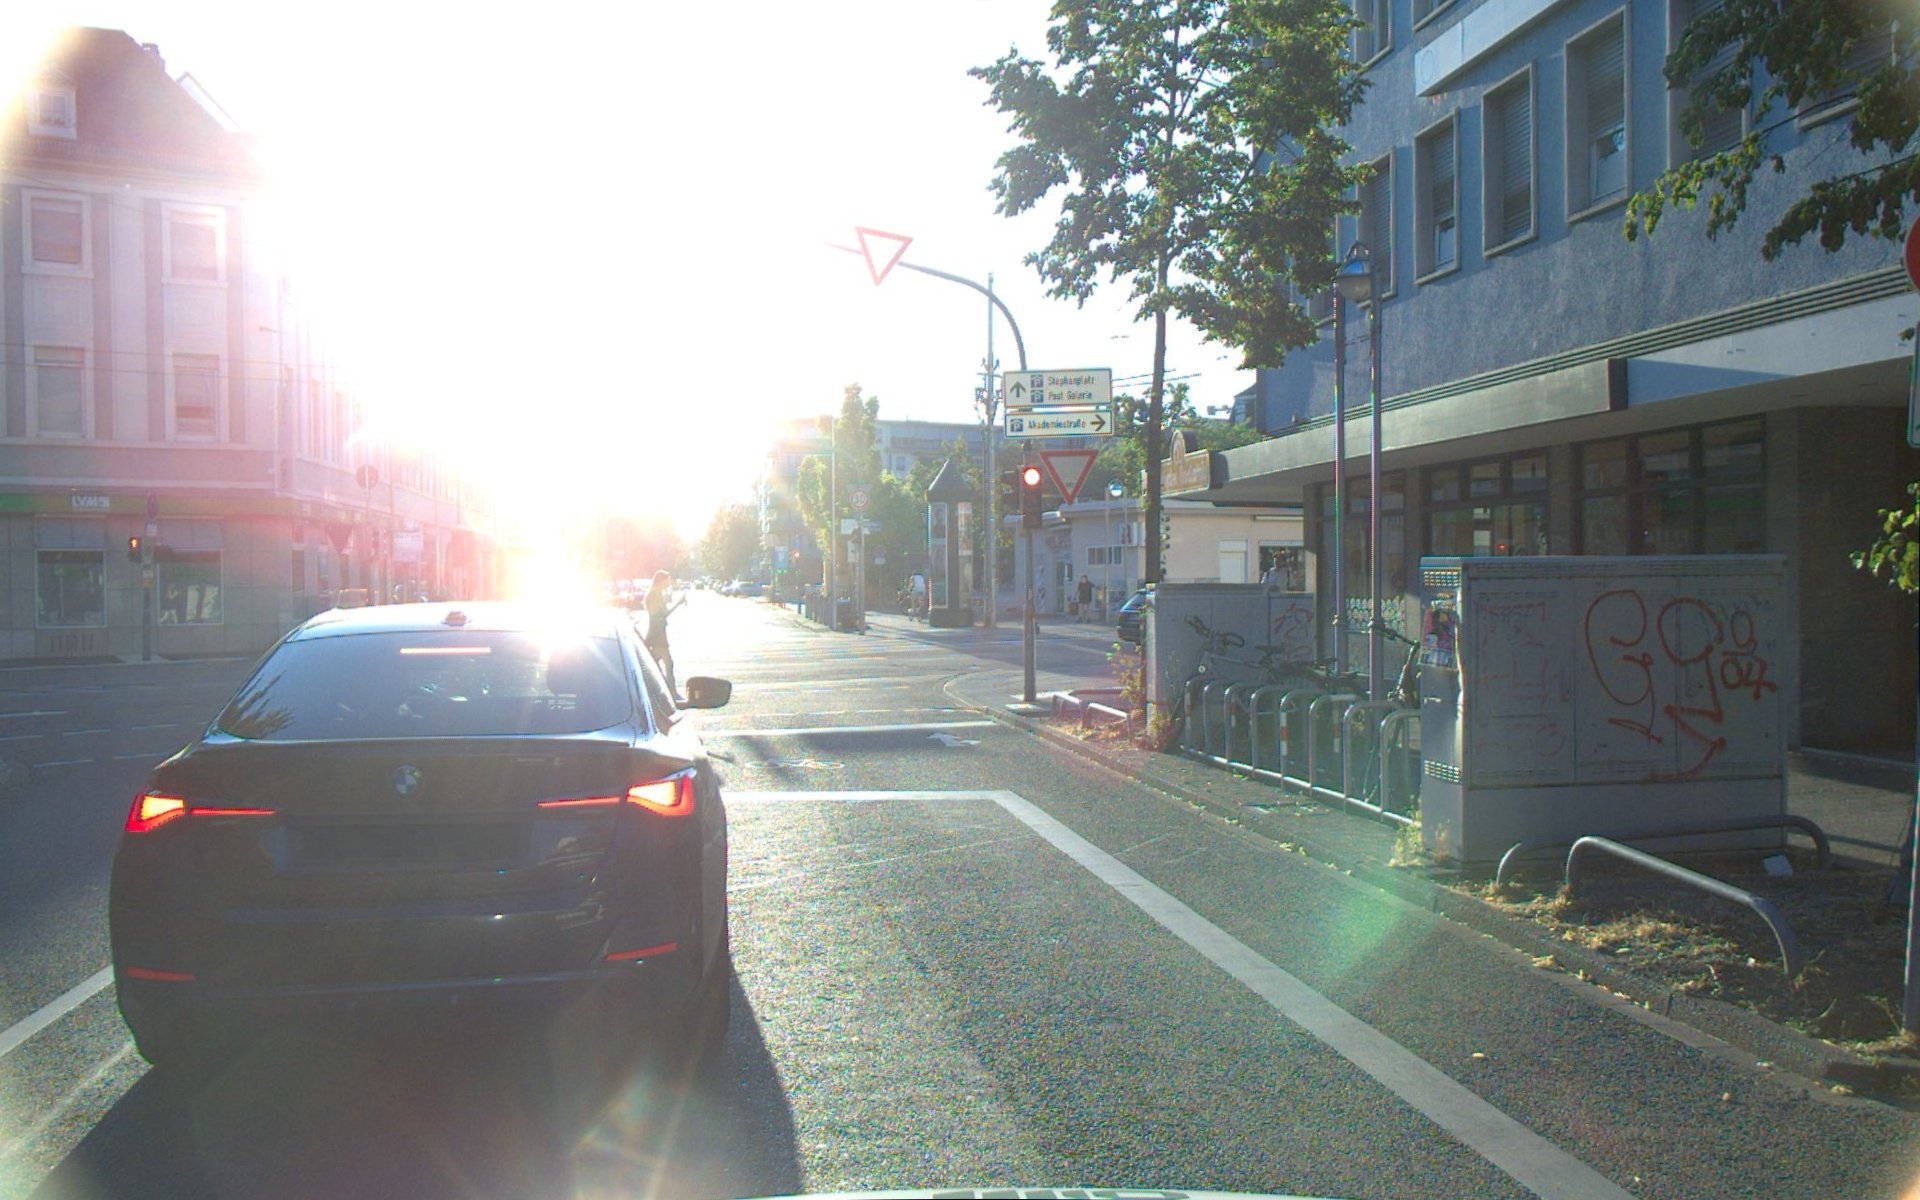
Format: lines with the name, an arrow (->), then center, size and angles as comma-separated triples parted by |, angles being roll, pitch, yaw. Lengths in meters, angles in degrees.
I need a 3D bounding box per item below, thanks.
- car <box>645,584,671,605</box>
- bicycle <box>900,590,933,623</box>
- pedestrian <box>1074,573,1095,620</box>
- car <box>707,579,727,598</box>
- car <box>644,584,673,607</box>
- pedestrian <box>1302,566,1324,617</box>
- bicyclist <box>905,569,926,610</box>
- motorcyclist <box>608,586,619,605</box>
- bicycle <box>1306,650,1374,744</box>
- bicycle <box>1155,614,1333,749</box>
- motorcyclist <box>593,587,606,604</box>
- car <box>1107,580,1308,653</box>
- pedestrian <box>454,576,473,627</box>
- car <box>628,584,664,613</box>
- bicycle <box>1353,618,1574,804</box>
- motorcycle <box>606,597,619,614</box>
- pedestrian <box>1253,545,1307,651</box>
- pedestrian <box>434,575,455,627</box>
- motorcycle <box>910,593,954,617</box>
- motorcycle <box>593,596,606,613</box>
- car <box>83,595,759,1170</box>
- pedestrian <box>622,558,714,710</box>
car -> -23.139, -0.442, 126.766 | 1.784, 1.545, 3.992 | -1, 1, -9
bicycle -> -1.603, 0.230, 60.449 | 0.542, 1.179, 2.130 | 1, 0, -21
pedestrian -> 4.097, -0.117, 54.482 | 0.461, 1.555, 0.735 | 1, 0, 23
car -> -23.906, -1.130, 163.096 | 1.737, 1.881, 3.995 | -1, 1, -6
car -> -20.521, -0.310, 112.682 | 1.784, 1.545, 3.992 | -1, 1, -9
pedestrian -> 12.267, -0.289, 57.464 | 0.474, 1.765, 0.525 | 1, 0, -34
bicyclist -> -1.628, -0.380, 60.525 | 0.542, 1.507, 0.718 | 1, 0, -22
motorcyclist -> -19.574, -0.251, 93.345 | 0.564, 1.013, 0.701 | 1, 0, -9
bicycle -> 3.541, 0.891, 15.446 | 0.244, 0.810, 1.114 | 1, 0, -7
bicycle -> 2.608, 0.737, 15.182 | 1.582, 1.191, 0.318 | -1, 0, -7
motorcyclist -> -20.447, -0.268, 93.837 | 0.564, 0.931, 2.196 | 1, 0, -8
car -> 5.490, 0.316, 36.494 | 4.368, 1.499, 1.796 | -1, 1, -34
pedestrian -> -18.806, 0.040, 62.659 | 0.605, 1.909, 0.676 | 1, 0, -13
car -> -17.894, -0.106, 94.343 | 1.784, 1.545, 3.992 | -1, 1, -9
bicycle -> 3.455, 0.755, 11.369 | 1.413, 1.241, 0.383 | 1, 0, -8
motorcycle -> -19.607, 0.289, 93.443 | 0.564, 0.931, 2.196 | 1, 0, -8
pedestrian -> 5.765, -0.041, 29.787 | 0.818, 1.874, 0.679 | -1, 0, 22
pedestrian -> -19.299, 0.036, 61.881 | 0.631, 1.909, 0.630 | 1, 0, -9
motorcycle -> -1.154, 0.204, 67.843 | 1.644, 0.955, 0.851 | -1, 1, -20
motorcycle -> -20.460, 0.273, 93.815 | 0.564, 0.931, 2.196 | 1, 0, -8
car -> -1.745, 0.718, 6.449 | 1.705, 1.453, 4.214 | 0, 0, -10
pedestrian -> -3.779, 0.422, 21.414 | 0.990, 1.893, 0.634 | -2, 1, -29
